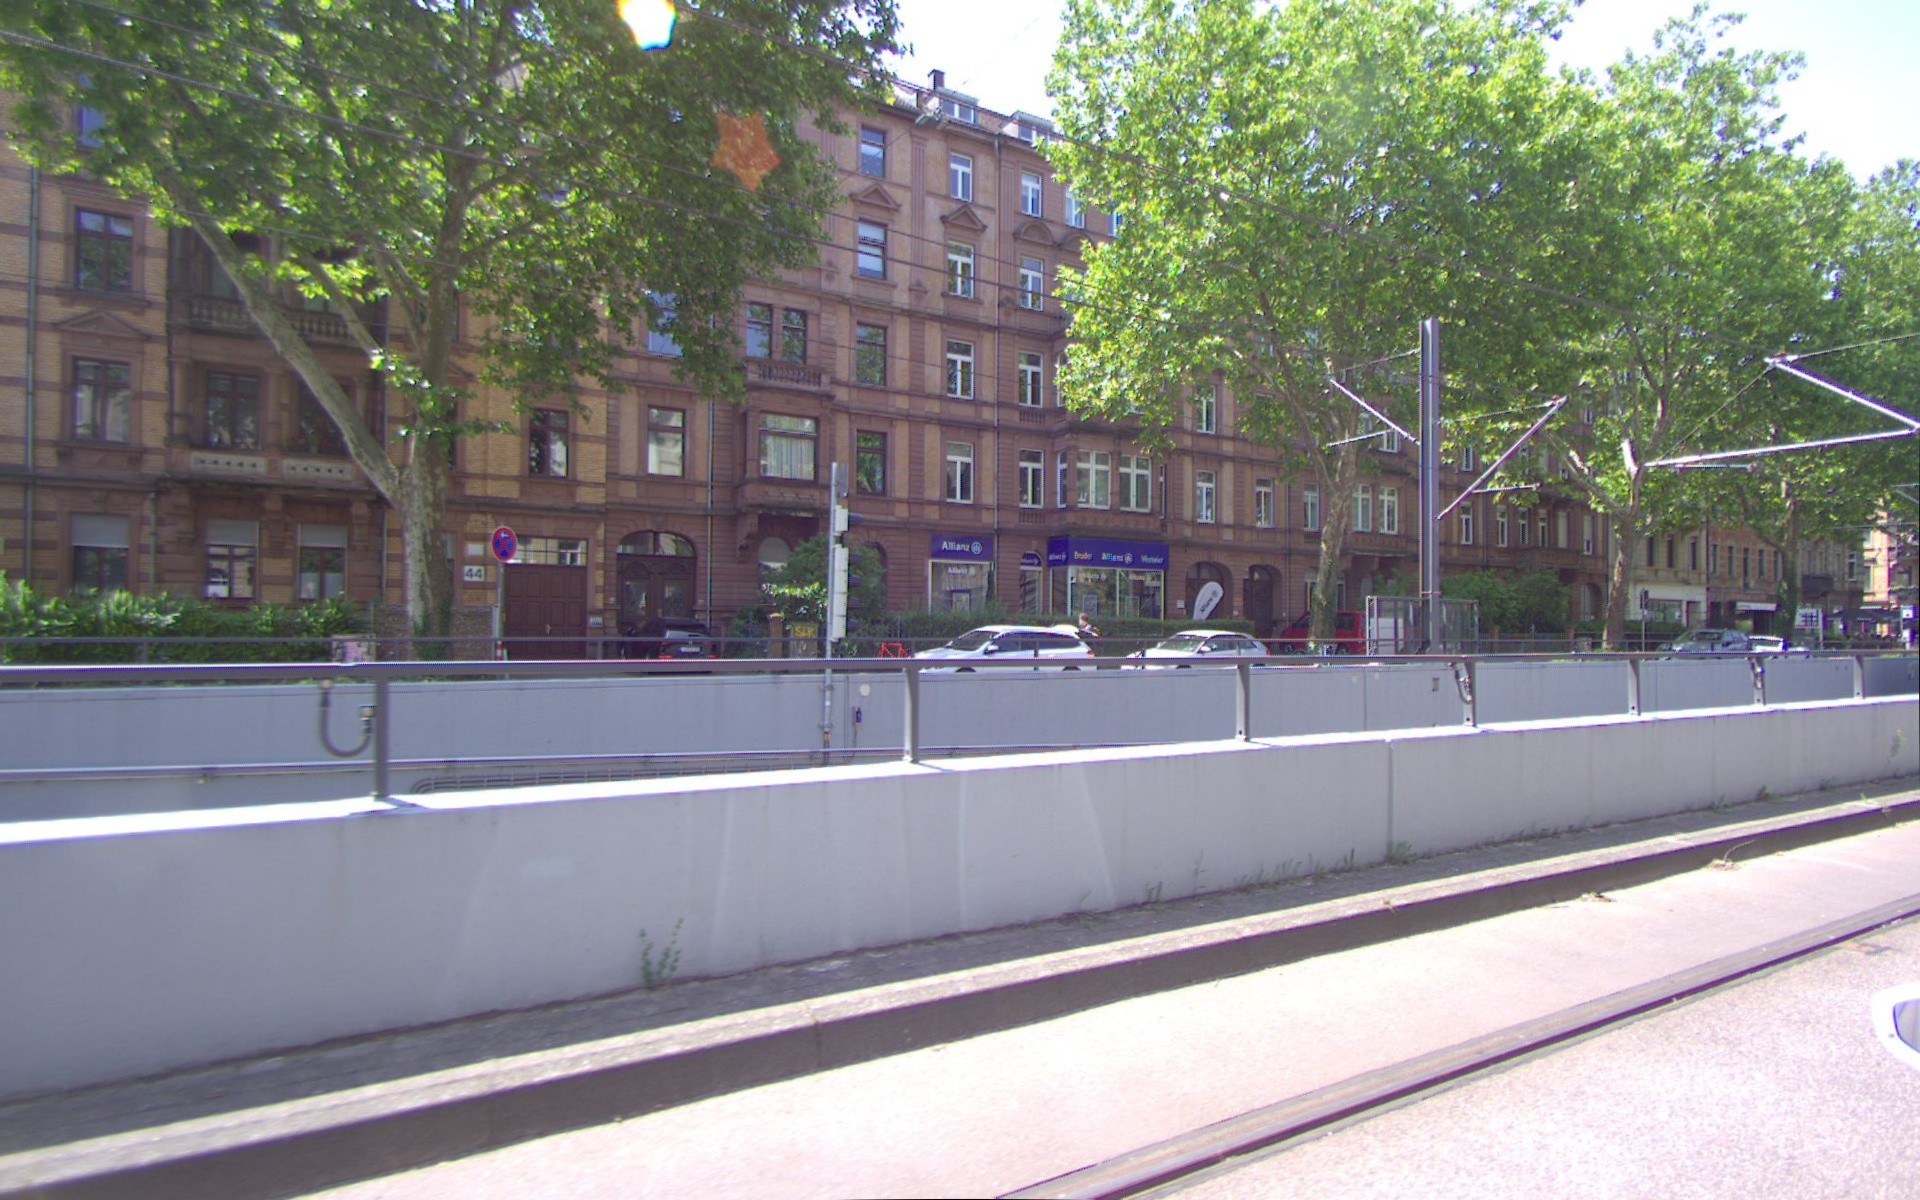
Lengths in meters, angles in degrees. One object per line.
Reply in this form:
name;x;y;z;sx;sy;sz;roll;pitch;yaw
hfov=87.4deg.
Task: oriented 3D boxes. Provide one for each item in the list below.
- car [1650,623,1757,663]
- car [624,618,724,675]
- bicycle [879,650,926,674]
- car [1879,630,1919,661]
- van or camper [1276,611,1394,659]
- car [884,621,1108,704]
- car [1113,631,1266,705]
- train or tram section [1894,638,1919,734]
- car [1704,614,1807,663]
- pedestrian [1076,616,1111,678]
car;28.408;1.635;38.352;4.149;1.419;1.843;1;-1;-31
car;-7.775;1.218;27.167;1.635;1.444;3.461;2;-2;-33
bicycle;-1.614;1.737;28.287;1.329;0.659;0.278;2;-1;-32
car;48.130;2.284;50.636;3.952;1.467;1.585;1;-1;-30
van or camper;15.134;1.389;40.788;1.905;1.861;4.533;1;-1;-23
car;0.840;1.337;22.393;4.664;1.646;1.984;1;-1;-31
car;5.810;1.667;25.370;3.664;1.707;1.645;1;-1;-31
train or tram section;29.718;2.394;28.308;8.417;2.542;2.716;1;-1;-31
car;32.397;1.549;40.873;4.101;1.929;1.984;1;-1;-31
pedestrian;3.202;1.113;24.058;0.717;1.445;0.515;1;-1;20
